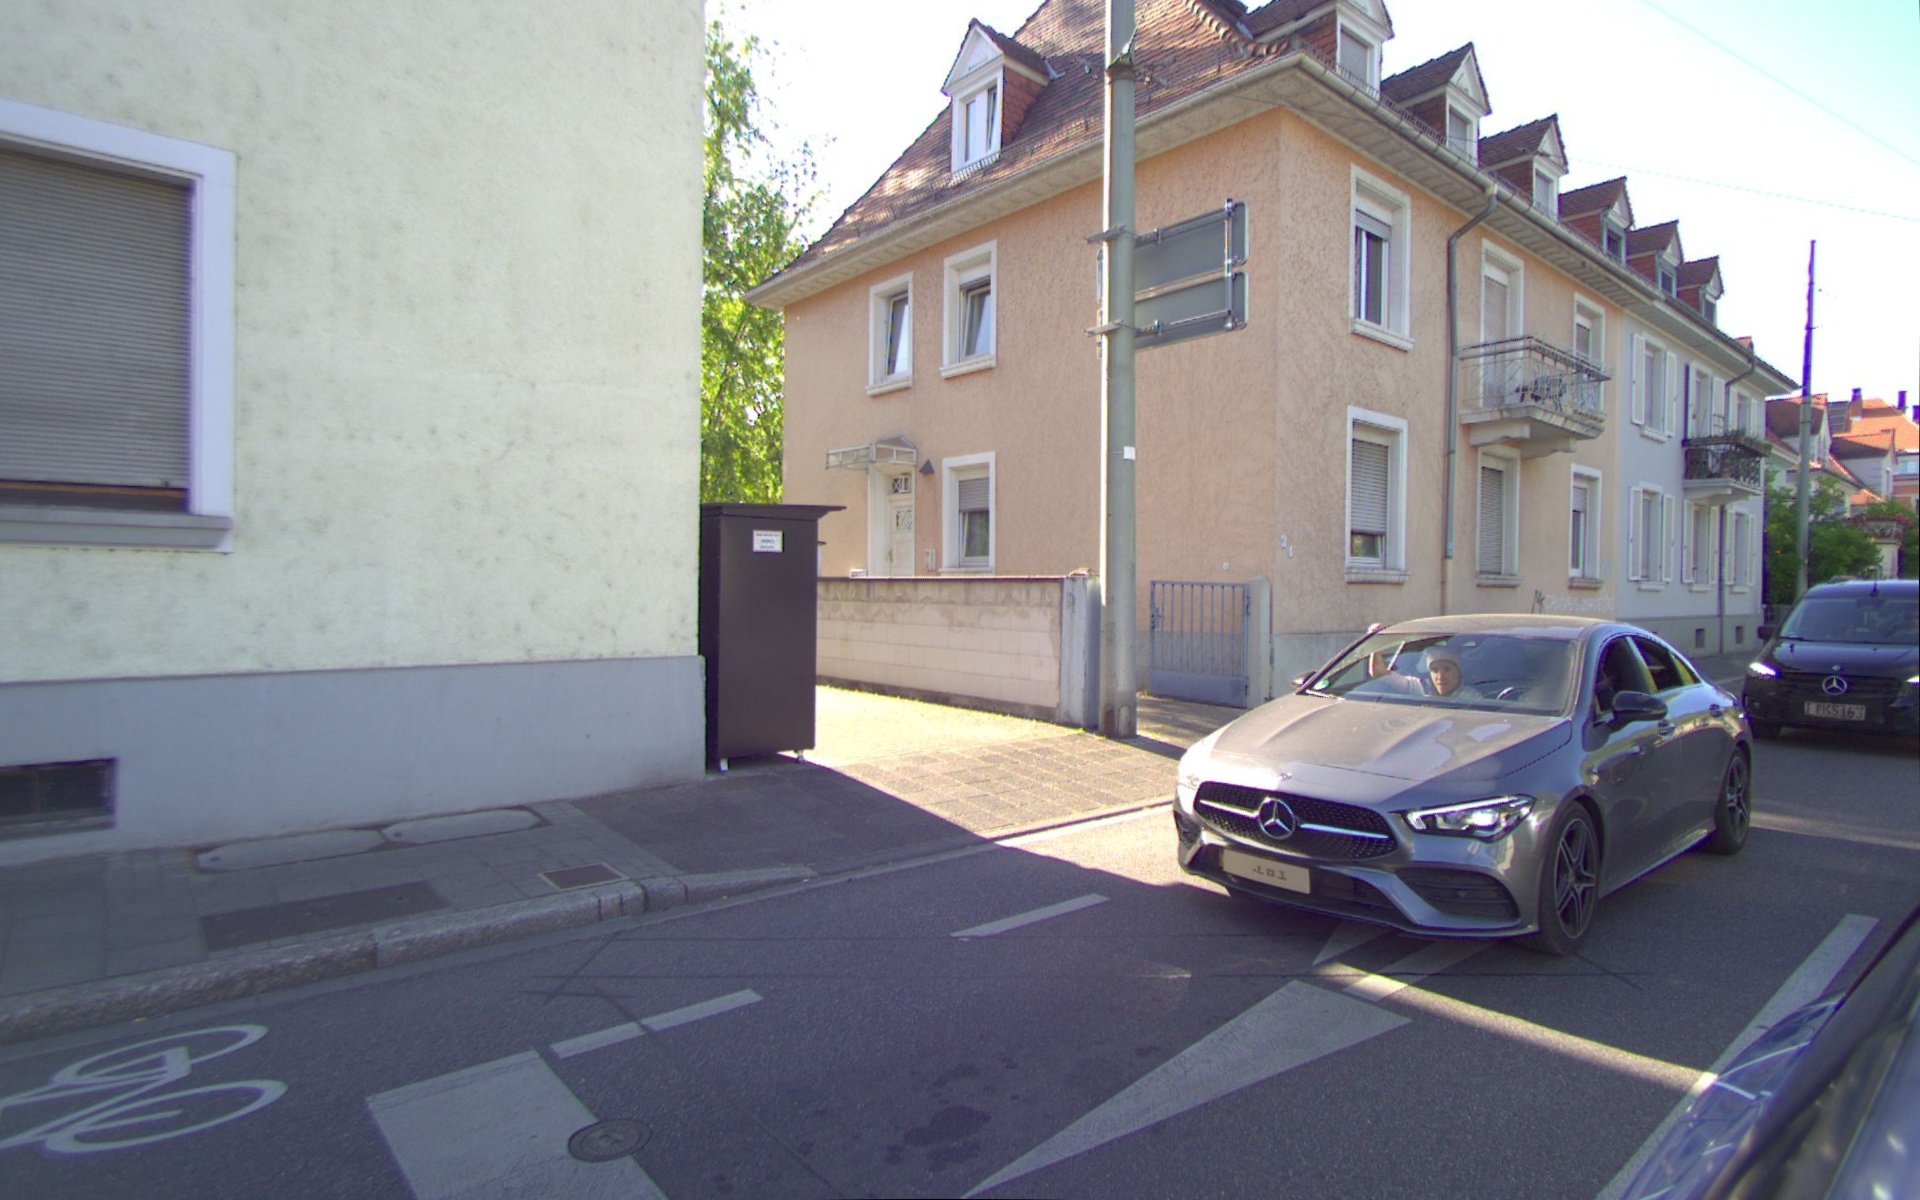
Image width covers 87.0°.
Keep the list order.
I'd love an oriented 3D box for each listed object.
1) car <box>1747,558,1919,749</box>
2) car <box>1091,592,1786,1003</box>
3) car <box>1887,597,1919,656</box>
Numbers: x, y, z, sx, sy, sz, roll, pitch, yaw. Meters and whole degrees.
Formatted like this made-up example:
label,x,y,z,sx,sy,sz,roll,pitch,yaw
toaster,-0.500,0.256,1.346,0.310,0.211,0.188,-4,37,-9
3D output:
label,x,y,z,sx,sy,sz,roll,pitch,yaw
car,10.689,0.485,11.521,4.695,1.827,1.864,-1,0,-41
car,2.954,0.688,5.760,4.413,1.437,1.911,-1,1,-40
car,26.221,0.677,26.936,3.930,1.476,1.839,-1,0,-41
